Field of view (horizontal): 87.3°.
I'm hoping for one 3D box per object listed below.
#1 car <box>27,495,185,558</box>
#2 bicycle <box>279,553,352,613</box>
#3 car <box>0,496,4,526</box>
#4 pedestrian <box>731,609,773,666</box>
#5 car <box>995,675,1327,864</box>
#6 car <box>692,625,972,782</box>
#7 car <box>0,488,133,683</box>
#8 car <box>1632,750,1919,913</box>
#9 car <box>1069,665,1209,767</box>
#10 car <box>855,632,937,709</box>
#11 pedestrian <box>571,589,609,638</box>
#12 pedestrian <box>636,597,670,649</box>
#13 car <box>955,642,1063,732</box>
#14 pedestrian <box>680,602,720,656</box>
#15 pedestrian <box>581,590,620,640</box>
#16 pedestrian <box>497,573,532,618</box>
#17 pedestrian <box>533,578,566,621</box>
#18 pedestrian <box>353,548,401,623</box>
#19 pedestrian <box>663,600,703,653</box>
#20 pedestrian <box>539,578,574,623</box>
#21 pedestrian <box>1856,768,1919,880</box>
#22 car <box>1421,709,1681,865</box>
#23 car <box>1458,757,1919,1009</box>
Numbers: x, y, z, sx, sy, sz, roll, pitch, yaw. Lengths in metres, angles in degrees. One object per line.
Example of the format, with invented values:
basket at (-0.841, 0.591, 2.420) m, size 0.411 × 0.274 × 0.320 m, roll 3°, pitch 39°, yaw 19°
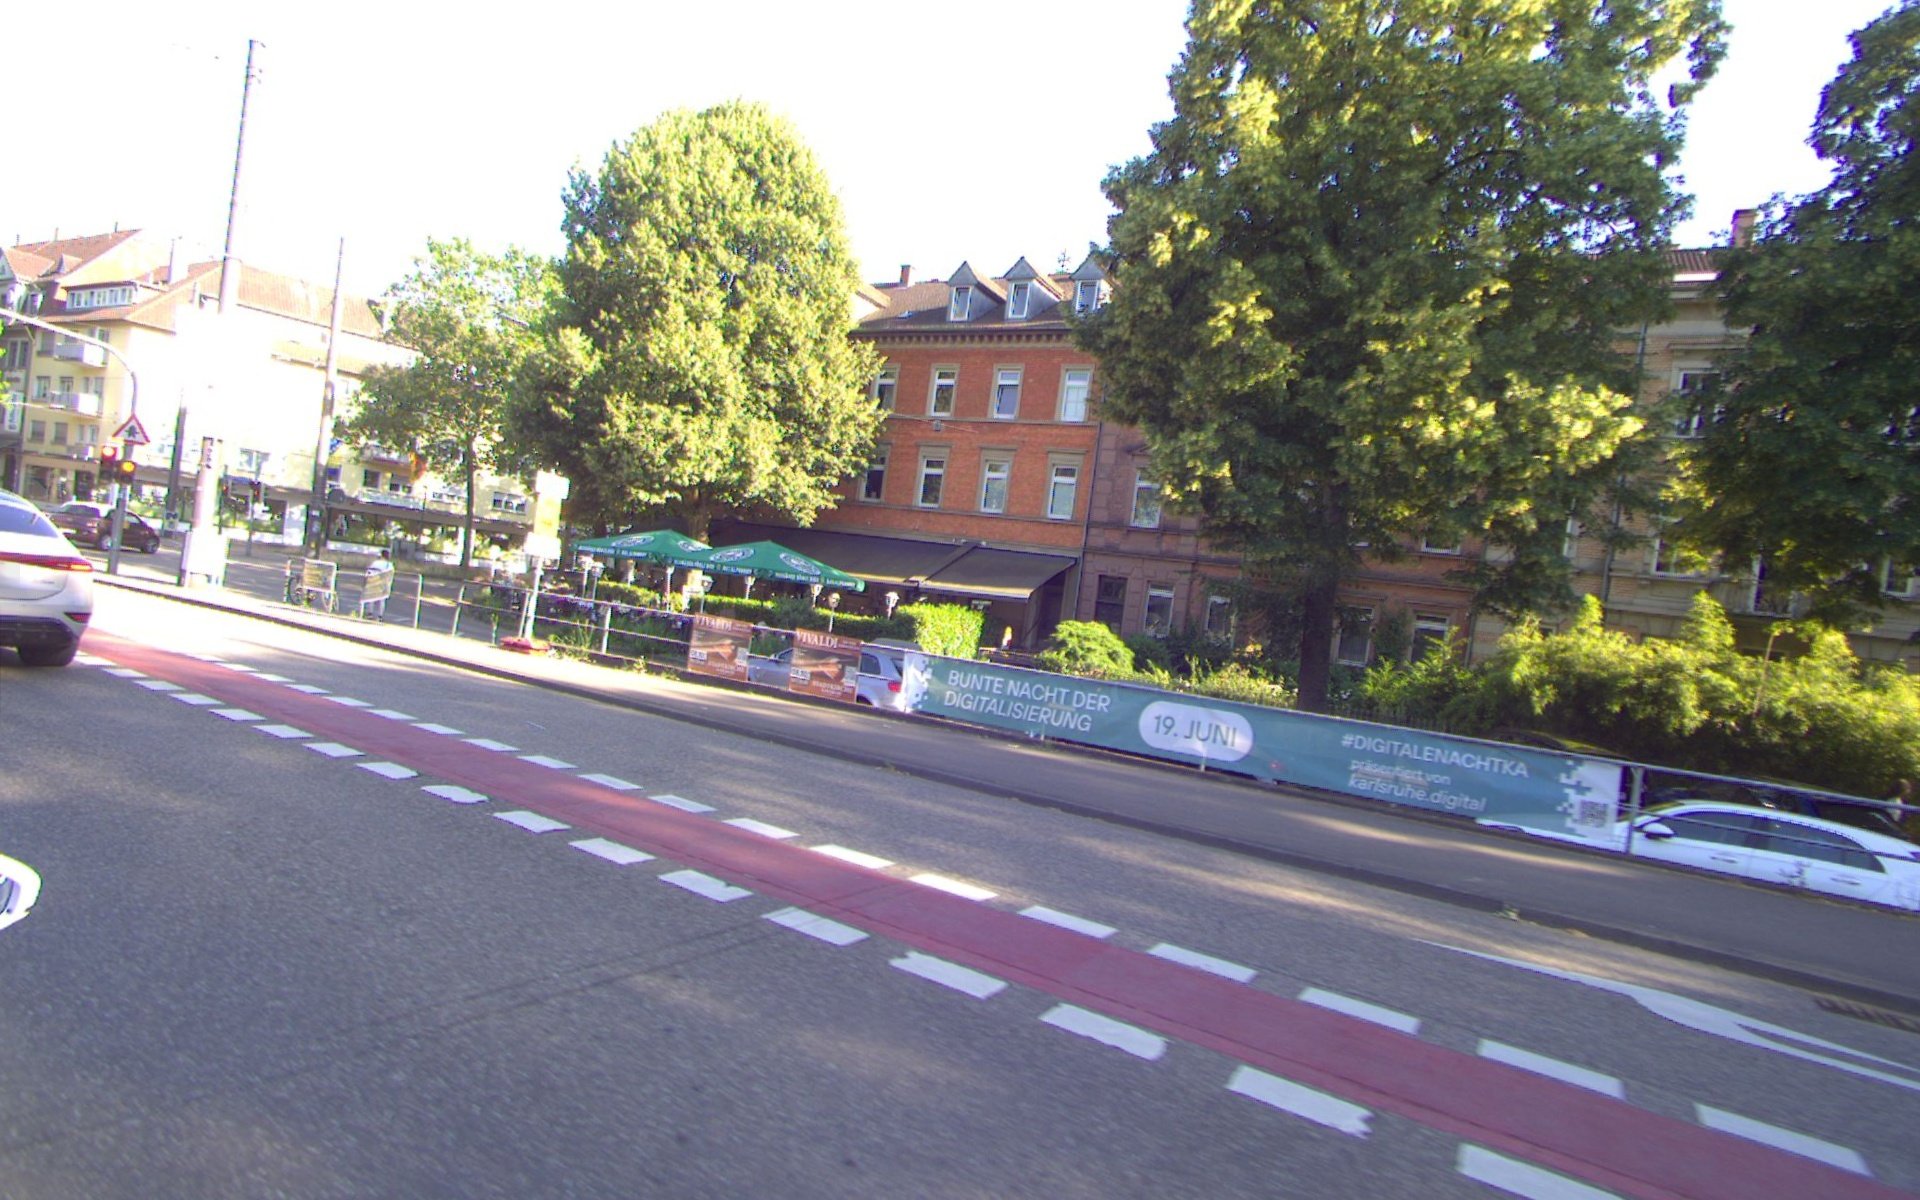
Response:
car at (-28.317, -2.376, 33.540) m, size 1.768 × 1.528 × 3.998 m, roll 8°, pitch 0°, yaw -2°
bicycle at (-13.660, -0.360, 21.307) m, size 1.770 × 1.087 × 0.499 m, roll 6°, pitch -1°, yaw 32°
car at (-20.901, -1.581, 20.293) m, size 3.987 × 1.455 × 1.800 m, roll 7°, pitch -2°, yaw 40°
pedestrian at (-5.434, 0.975, 26.263) m, size 0.621 × 1.352 × 0.649 m, roll 7°, pitch -2°, yaw 32°
car at (2.834, 2.250, 14.196) m, size 4.136 × 1.824 × 1.800 m, roll 6°, pitch -1°, yaw 25°
car at (-2.191, 1.663, 16.959) m, size 4.285 × 1.920 × 1.798 m, roll 6°, pitch -2°, yaw 30°
car at (-9.510, -0.373, 8.849) m, size 4.774 × 1.490 × 1.932 m, roll 7°, pitch -1°, yaw 32°
car at (13.263, 3.642, 16.483) m, size 1.766 × 1.533 × 3.999 m, roll 7°, pitch 1°, yaw 2°
car at (3.722, 2.402, 21.716) m, size 1.929 × 1.424 × 4.246 m, roll 7°, pitch 1°, yaw -3°
car at (-1.644, 1.689, 25.196) m, size 1.747 × 1.365 × 3.995 m, roll 7°, pitch 1°, yaw -5°
pedestrian at (-11.196, 0.398, 30.459) m, size 0.621 × 1.352 × 0.649 m, roll 7°, pitch -2°, yaw 32°
pedestrian at (-8.641, 0.644, 28.291) m, size 0.643 × 1.352 × 0.627 m, roll 9°, pitch -2°, yaw -28°
car at (1.062, 1.988, 23.958) m, size 1.769 × 1.499 × 3.993 m, roll 7°, pitch 1°, yaw -7°
pedestrian at (-7.113, 0.809, 27.526) m, size 0.621 × 1.352 × 0.649 m, roll 7°, pitch -2°, yaw 32°
pedestrian at (-10.604, 0.444, 29.671) m, size 0.621 × 1.352 × 0.649 m, roll 7°, pitch -2°, yaw 32°
pedestrian at (-14.779, -0.154, 33.366) m, size 0.621 × 1.352 × 0.649 m, roll 7°, pitch -2°, yaw 32°
pedestrian at (-14.061, -0.024, 34.454) m, size 0.621 × 1.352 × 0.649 m, roll 7°, pitch -2°, yaw 32°
pedestrian at (-13.133, -0.322, 22.646) m, size 0.646 × 1.580 × 0.625 m, roll 10°, pitch -2°, yaw -39°
pedestrian at (-7.730, 0.751, 28.080) m, size 0.621 × 1.352 × 0.649 m, roll 7°, pitch -2°, yaw 32°
pedestrian at (-13.497, 0.018, 33.653) m, size 0.621 × 1.352 × 0.649 m, roll 7°, pitch -2°, yaw 32°
pedestrian at (16.259, 3.887, 17.551) m, size 0.621 × 1.767 × 0.649 m, roll 7°, pitch 0°, yaw 27°
car at (10.184, 3.152, 17.767) m, size 1.768 × 1.757 × 3.994 m, roll 7°, pitch 1°, yaw -6°
car at (7.956, 2.894, 10.858) m, size 4.369 × 1.597 × 1.797 m, roll 6°, pitch -2°, yaw 31°
